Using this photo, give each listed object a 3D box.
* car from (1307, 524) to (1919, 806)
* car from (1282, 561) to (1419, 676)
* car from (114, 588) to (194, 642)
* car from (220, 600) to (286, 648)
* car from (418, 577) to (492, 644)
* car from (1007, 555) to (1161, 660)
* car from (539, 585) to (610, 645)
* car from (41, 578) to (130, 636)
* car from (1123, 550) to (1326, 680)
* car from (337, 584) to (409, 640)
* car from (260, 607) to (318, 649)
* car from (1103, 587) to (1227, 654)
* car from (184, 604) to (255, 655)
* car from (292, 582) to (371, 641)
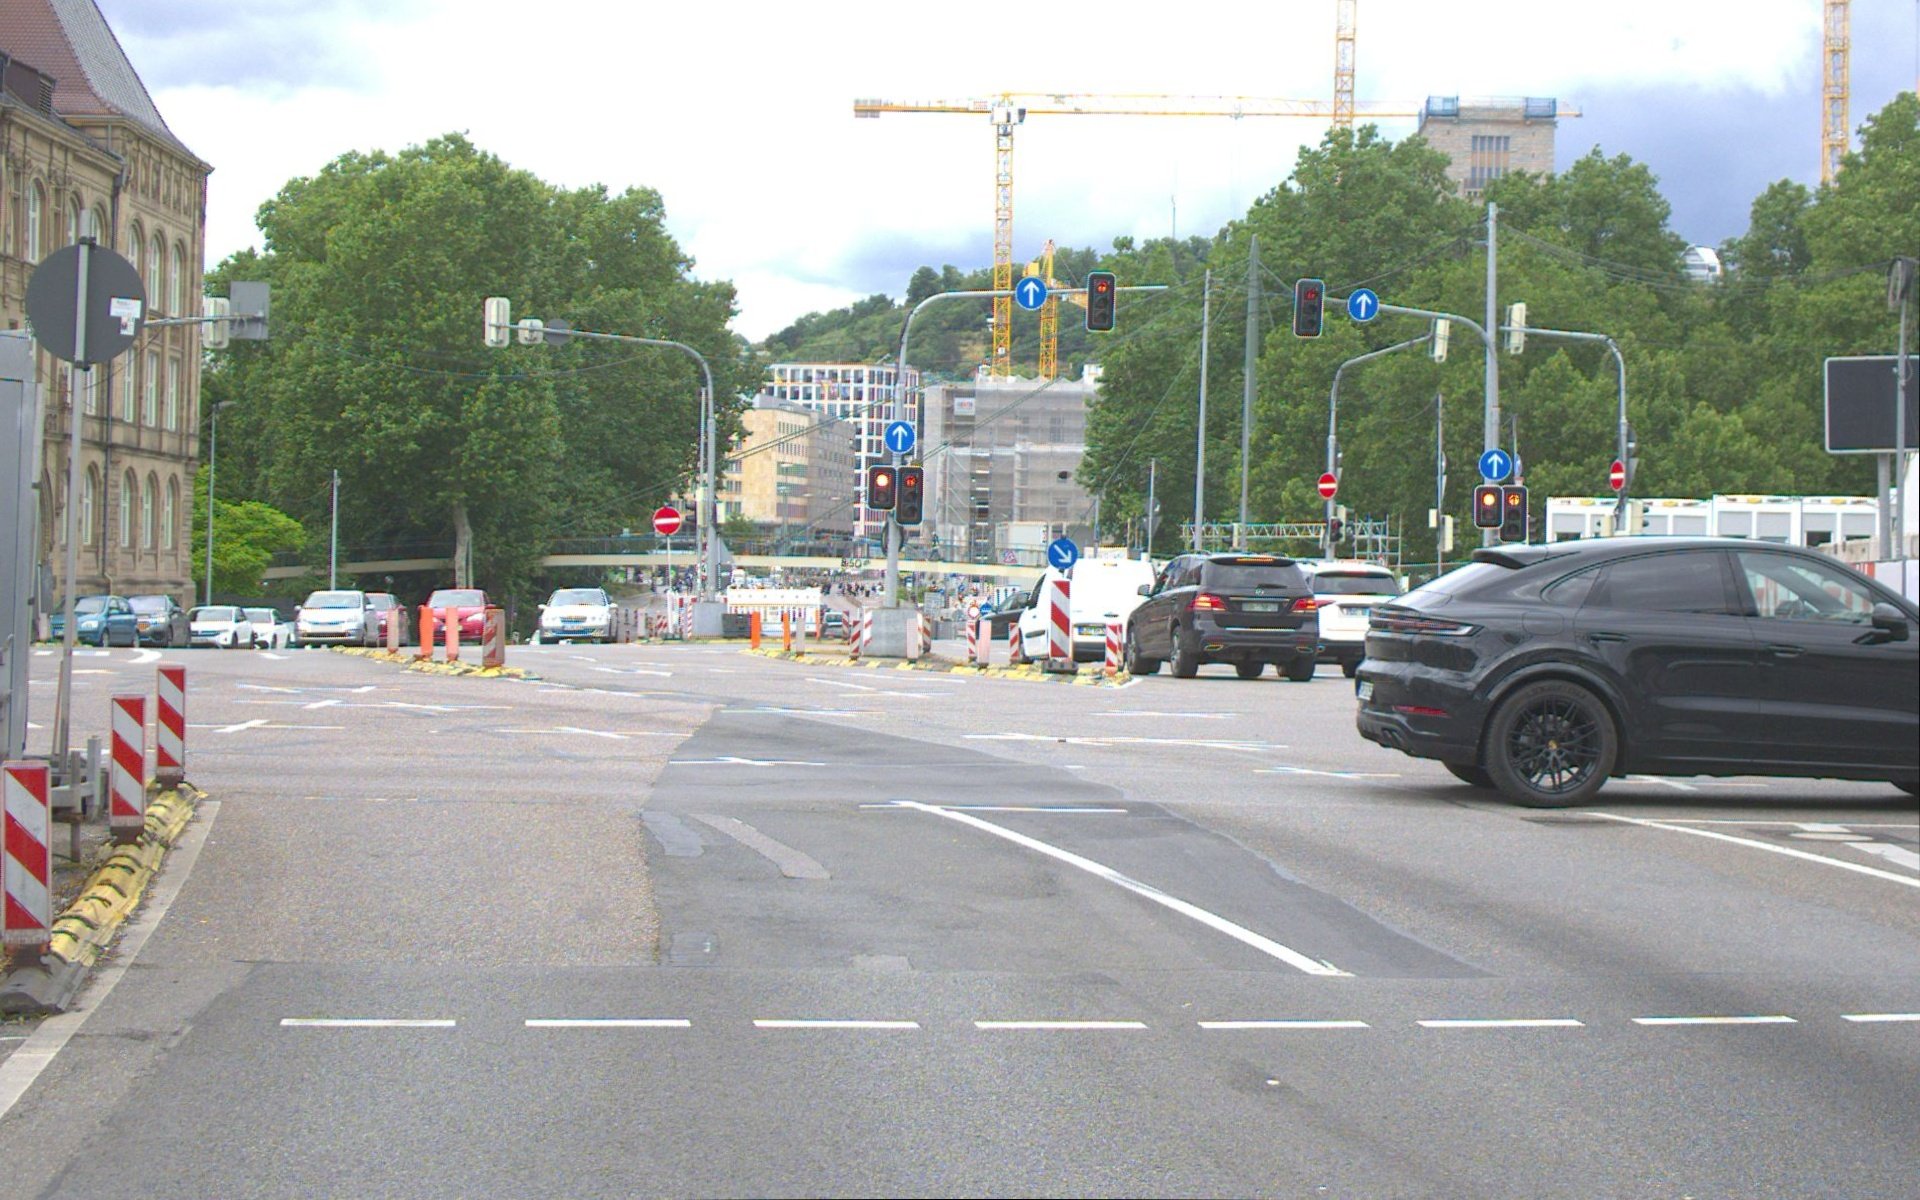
[{"bbox_3d":[4.698,0.387,21.323,4.807,1.619,2.021,1,0,-2],"label":"car"},{"bbox_3d":[5.996,0.261,53.055,1.676,1.696,3.374,1,1,-1],"label":"car"},{"bbox_3d":[-21.759,0.394,92.931,1.675,1.393,3.684,1,1,-7],"label":"car"},{"bbox_3d":[-22.161,0.759,107.867,1.675,1.393,3.683,0,-2,-6],"label":"car"},{"bbox_3d":[-12.435,0.233,84.730,1.675,1.575,3.684,1,1,-7],"label":"car"},{"bbox_3d":[1.961,0.093,55.535,1.816,1.619,4.001,1,1,-8],"label":"car"},{"bbox_3d":[-9.543,0.361,85.029,1.675,1.393,3.684,1,1,-7],"label":"car"},{"bbox_3d":[-21.979,0.171,86.500,1.675,1.393,3.684,1,1,-7],"label":"car"},{"bbox_3d":[3.669,0.179,48.489,1.831,1.740,4.257,1,1,-10],"label":"car"},{"bbox_3d":[-15.648,0.307,91.802,1.675,1.393,3.684,1,1,-7],"label":"car"},{"bbox_3d":[-23.338,0.959,119.630,1.675,1.393,3.684,1,1,-7],"label":"car"},{"bbox_3d":[4.517,0.439,75.997,1.675,1.393,3.087,1,1,-19],"label":"car"},{"bbox_3d":[-21.834,0.863,101.416,1.675,1.393,3.684,1,1,-7],"label":"car"},{"bbox_3d":[-15.630,0.269,85.640,1.675,1.393,3.684,1,1,-7],"label":"car"}]
